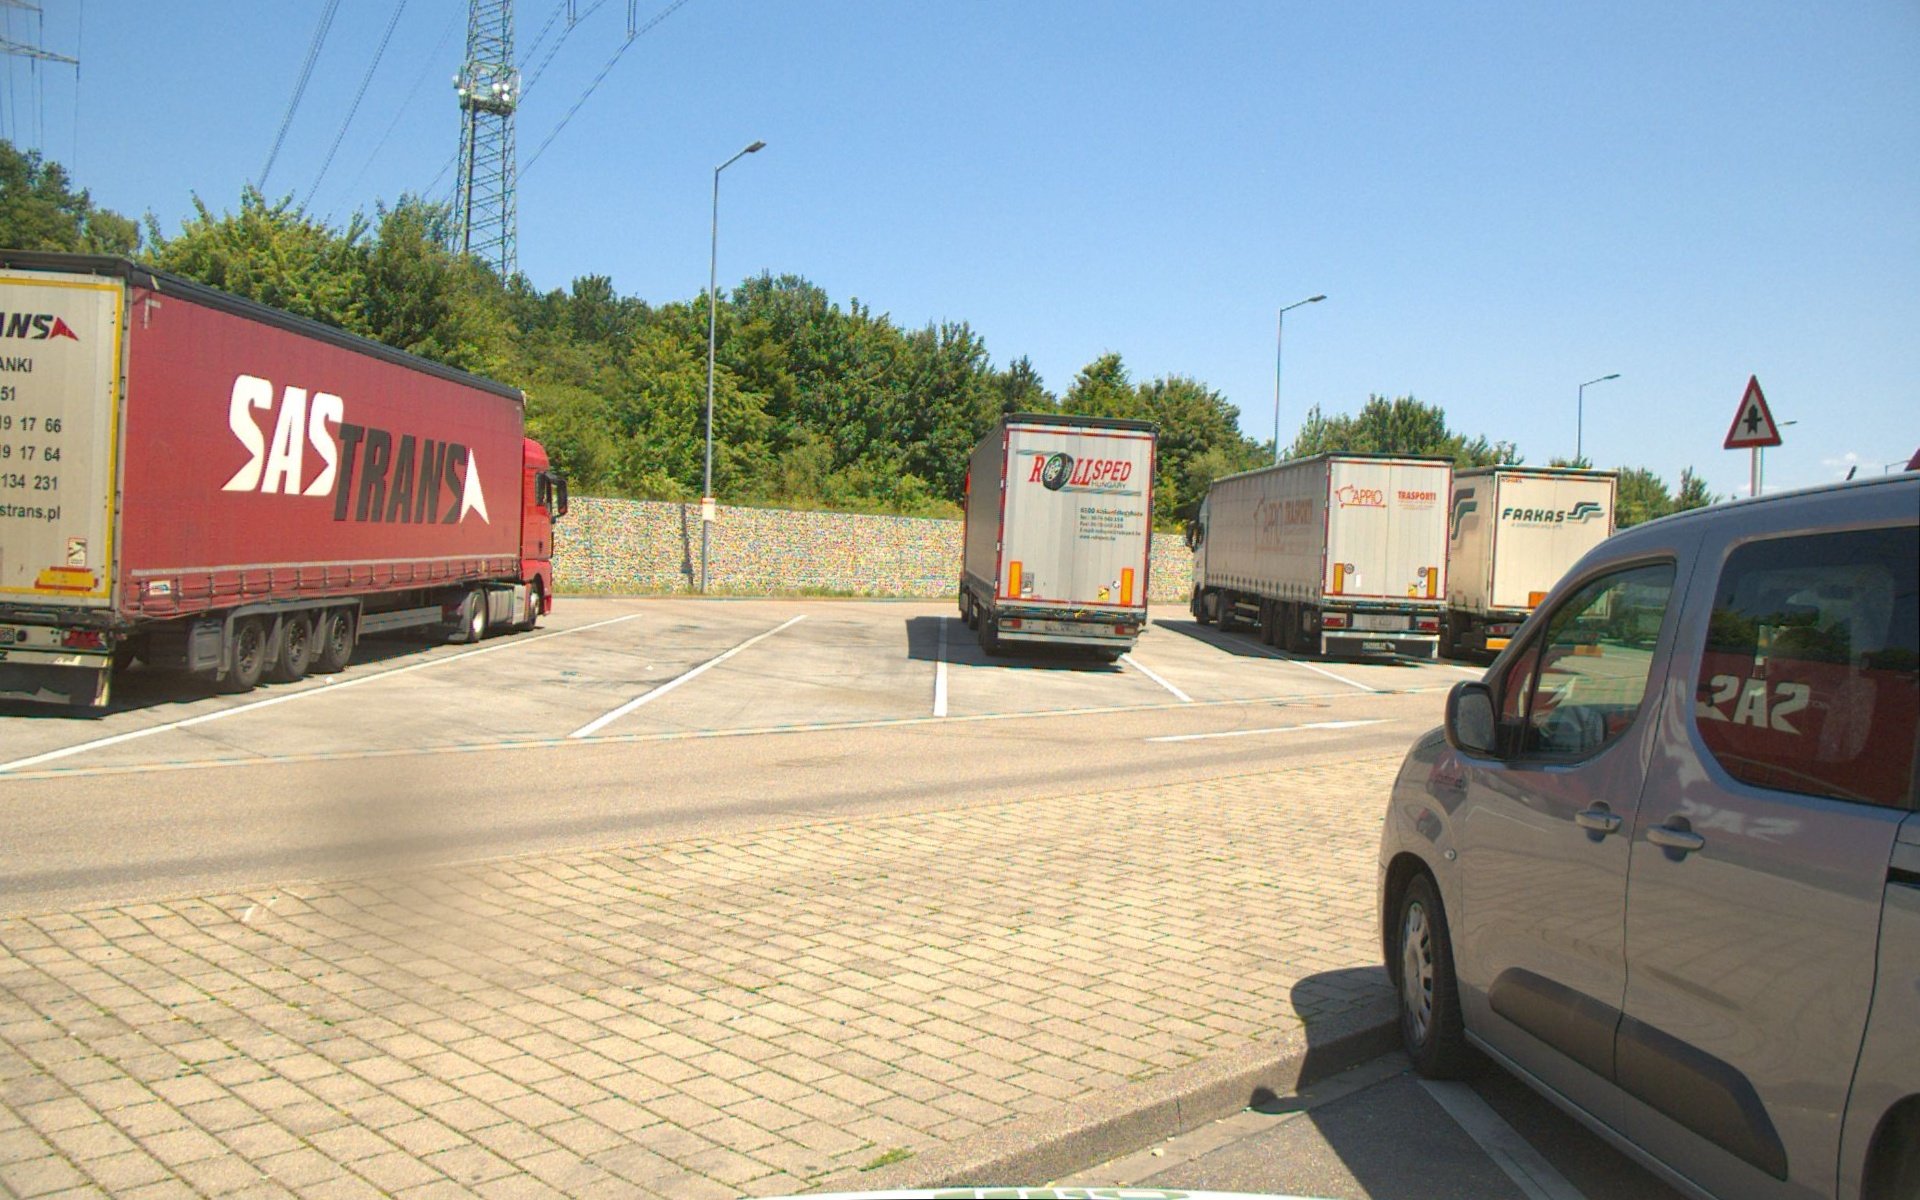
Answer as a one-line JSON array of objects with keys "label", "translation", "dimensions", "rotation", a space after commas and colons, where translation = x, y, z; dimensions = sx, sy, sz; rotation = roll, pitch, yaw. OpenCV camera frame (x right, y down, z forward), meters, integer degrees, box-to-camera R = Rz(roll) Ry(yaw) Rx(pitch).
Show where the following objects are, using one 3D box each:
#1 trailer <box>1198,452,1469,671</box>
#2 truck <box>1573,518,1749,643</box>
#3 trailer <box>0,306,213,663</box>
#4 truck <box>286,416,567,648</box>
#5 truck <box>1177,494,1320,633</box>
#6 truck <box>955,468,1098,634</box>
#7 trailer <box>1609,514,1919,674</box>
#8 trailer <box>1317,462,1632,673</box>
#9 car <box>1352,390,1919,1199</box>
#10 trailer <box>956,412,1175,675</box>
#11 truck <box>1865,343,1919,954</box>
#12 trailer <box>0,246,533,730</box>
[{"label": "trailer", "translation": [8.176, -1.025, 38.857], "dimensions": [2.754, 4.058, 14.395], "rotation": [3, 2, -1]}, {"label": "truck", "translation": [21.772, -0.691, 51.741], "dimensions": [2.746, 3.582, 5.900], "rotation": [3, 2, -1]}, {"label": "trailer", "translation": [-12.549, -1.332, 17.721], "dimensions": [2.739, 4.155, 14.131], "rotation": [3, 2, -1]}, {"label": "truck", "translation": [-8.787, -1.146, 28.014], "dimensions": [2.793, 3.385, 5.900], "rotation": [3, 2, -1]}, {"label": "truck", "translation": [8.059, -1.088, 46.957], "dimensions": [2.804, 3.582, 5.900], "rotation": [3, 2, -1]}, {"label": "truck", "translation": [1.506, -1.235, 40.539], "dimensions": [3.041, 3.628, 5.900], "rotation": [3, 2, -1]}, {"label": "trailer", "translation": [21.849, -0.386, 44.511], "dimensions": [2.754, 3.568, 14.395], "rotation": [3, 2, -1]}, {"label": "trailer", "translation": [11.738, -0.930, 39.961], "dimensions": [2.754, 4.058, 14.395], "rotation": [3, 2, -1]}, {"label": "car", "translation": [2.442, 0.607, 3.863], "dimensions": [1.832, 1.896, 4.174], "rotation": [3, 1, -2]}, {"label": "trailer", "translation": [1.663, -1.189, 33.648], "dimensions": [3.070, 4.058, 14.393], "rotation": [3, 2, -1]}, {"label": "truck", "translation": [5.004, 0.204, 4.986], "dimensions": [1.937, 2.668, 5.307], "rotation": [1, 0, 4]}, {"label": "trailer", "translation": [-8.722, -1.286, 21.443], "dimensions": [2.735, 4.155, 14.131], "rotation": [3, 2, -1]}]
